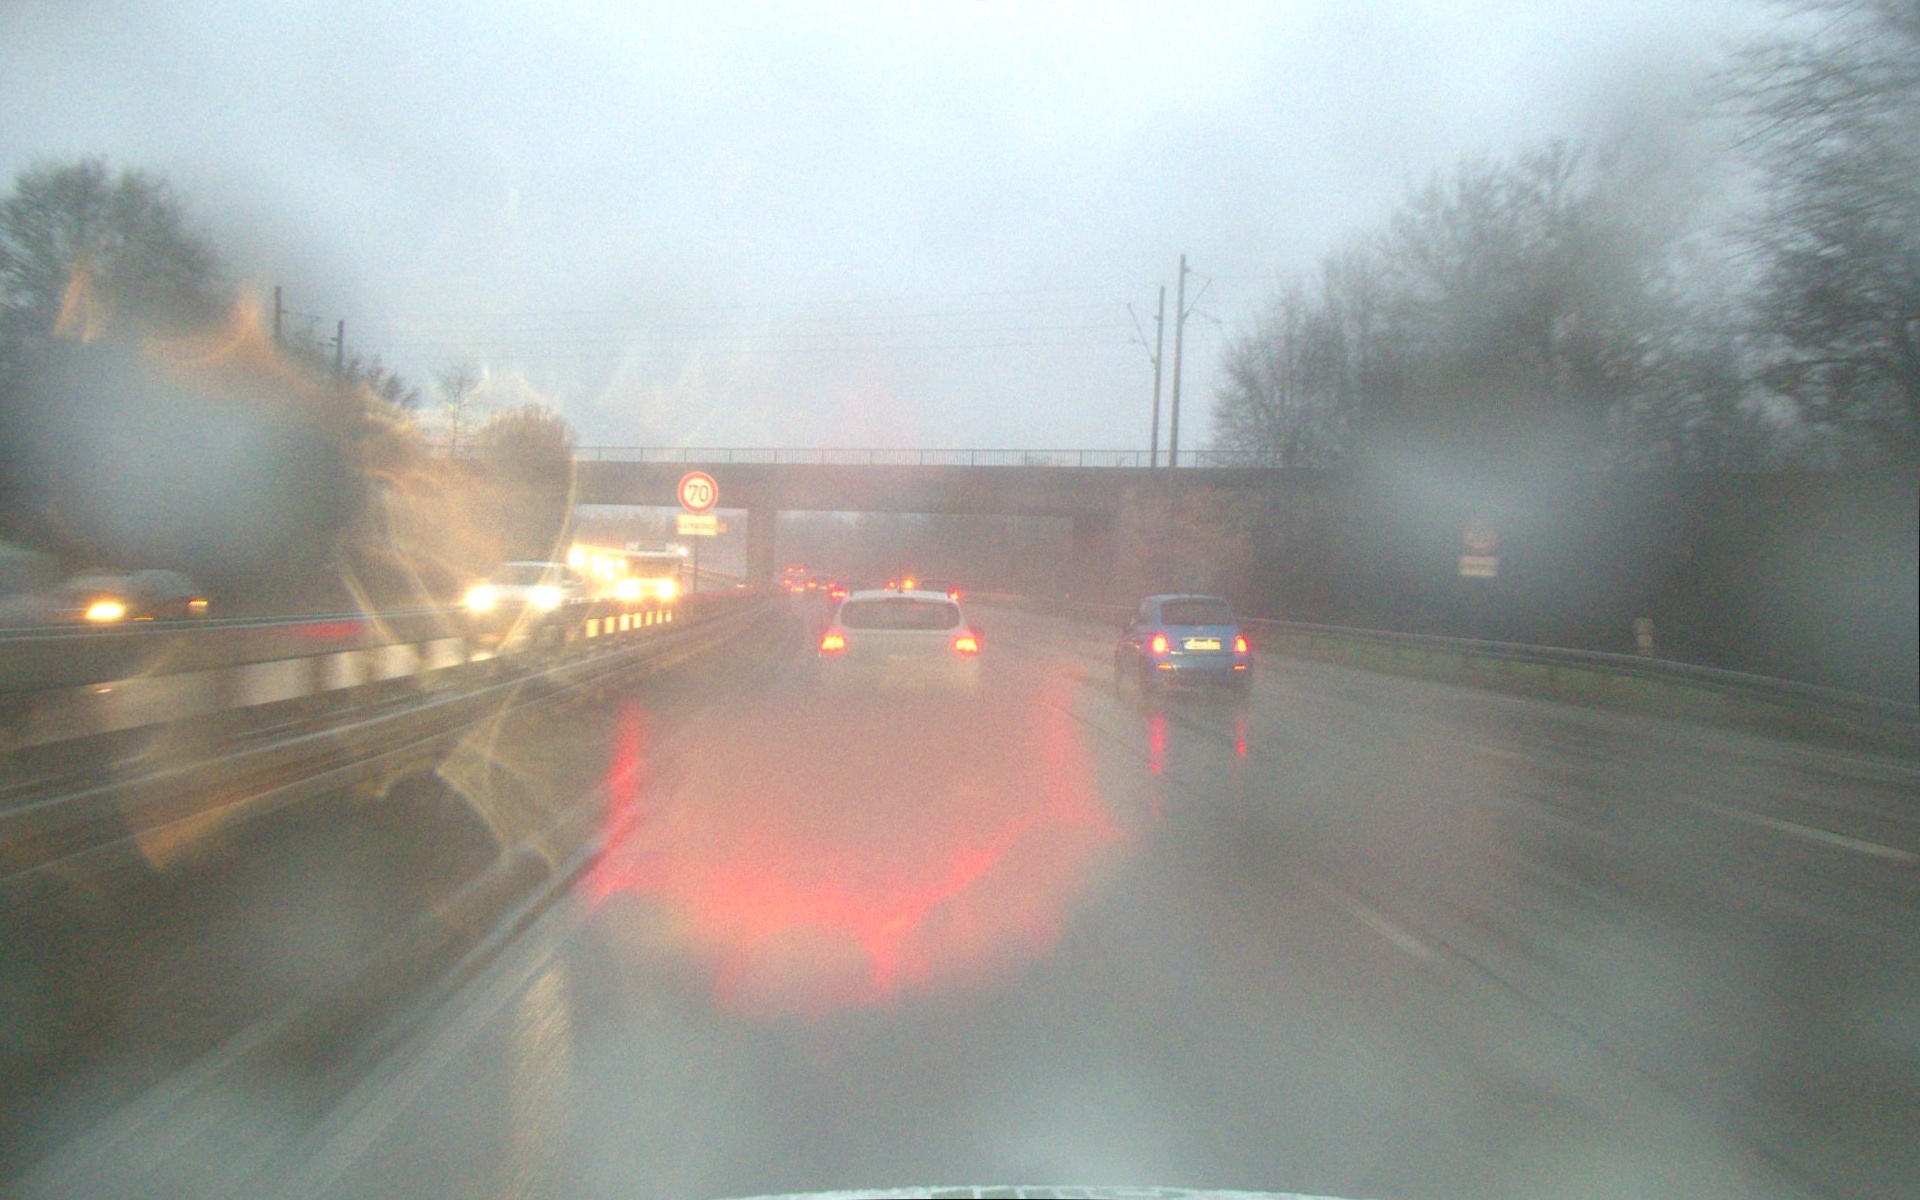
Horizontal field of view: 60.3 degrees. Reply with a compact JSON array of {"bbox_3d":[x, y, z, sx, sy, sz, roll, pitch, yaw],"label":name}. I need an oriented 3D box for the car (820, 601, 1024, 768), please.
[{"bbox_3d":[-0.504,0.870,18.517,1.985,1.602,3.997,2,-1,-4],"label":"car"}]

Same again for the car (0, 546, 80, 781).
[{"bbox_3d":[-7.827,0.426,11.131,1.731,1.713,3.998,2,-1,-2],"label":"car"}]

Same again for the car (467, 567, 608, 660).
[{"bbox_3d":[-9.325,0.312,36.960,1.947,1.862,5.116,2,-1,-2],"label":"car"}]

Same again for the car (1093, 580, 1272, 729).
[{"bbox_3d":[3.323,0.798,25.419,1.895,2.055,3.769,2,-1,-5],"label":"car"}]

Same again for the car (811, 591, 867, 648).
[{"bbox_3d":[-4.673,0.755,63.410,1.955,2.049,3.994,2,-1,-6],"label":"car"}]

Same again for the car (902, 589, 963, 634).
[{"bbox_3d":[-1.137,0.487,67.164,1.897,1.573,3.765,-4,-2,-9],"label":"car"}]

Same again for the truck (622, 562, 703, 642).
[{"bbox_3d":[-12.948,0.111,72.553,2.661,3.216,7.721,2,-1,-5],"label":"truck"}]
